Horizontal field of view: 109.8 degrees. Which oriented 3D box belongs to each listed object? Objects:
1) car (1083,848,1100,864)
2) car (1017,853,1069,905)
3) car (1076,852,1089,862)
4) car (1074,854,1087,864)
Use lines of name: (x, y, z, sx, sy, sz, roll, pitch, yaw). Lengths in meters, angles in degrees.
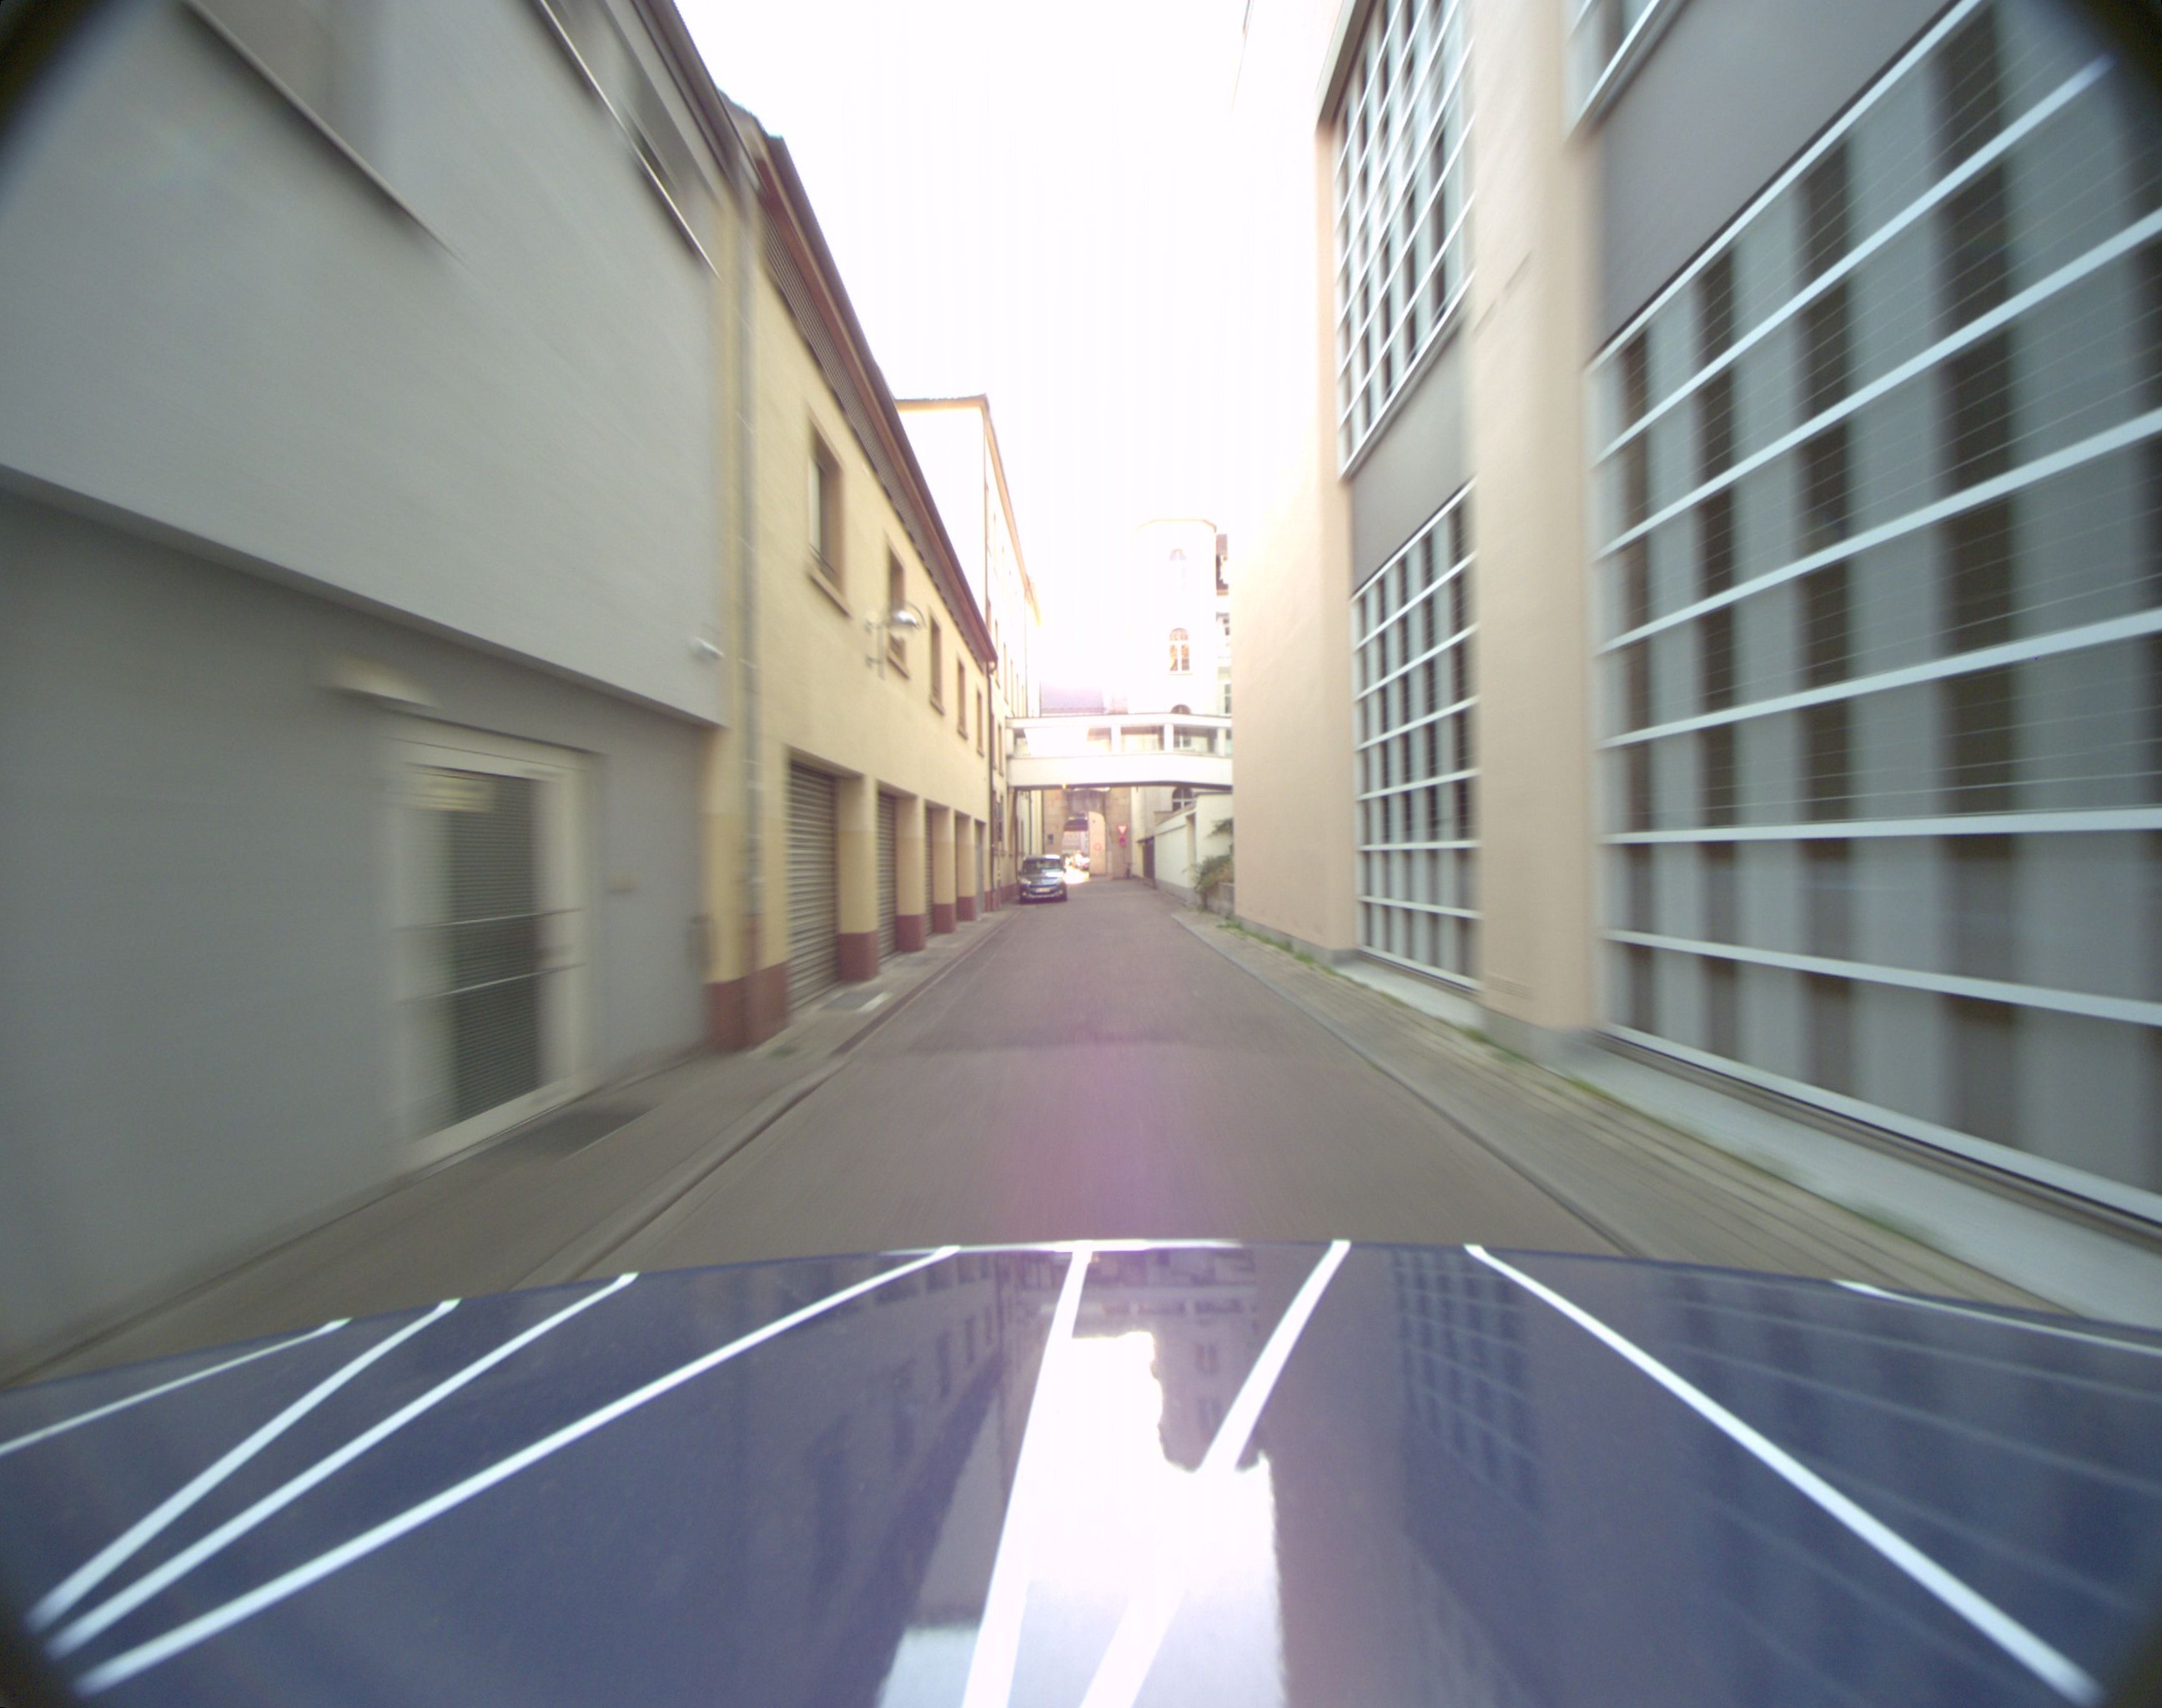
car: (1.314, 0.234, 95.011, 1.999, 1.805, 4.000, -3, 0, 0)
car: (-1.393, 0.901, 29.475, 1.764, 1.756, 4.749, -3, 0, -1)
car: (0.227, 0.503, 113.985, 1.806, 1.415, 3.755, -2, 0, -2)
car: (-0.103, 0.807, 119.464, 1.806, 1.415, 3.754, -2, 0, -3)
